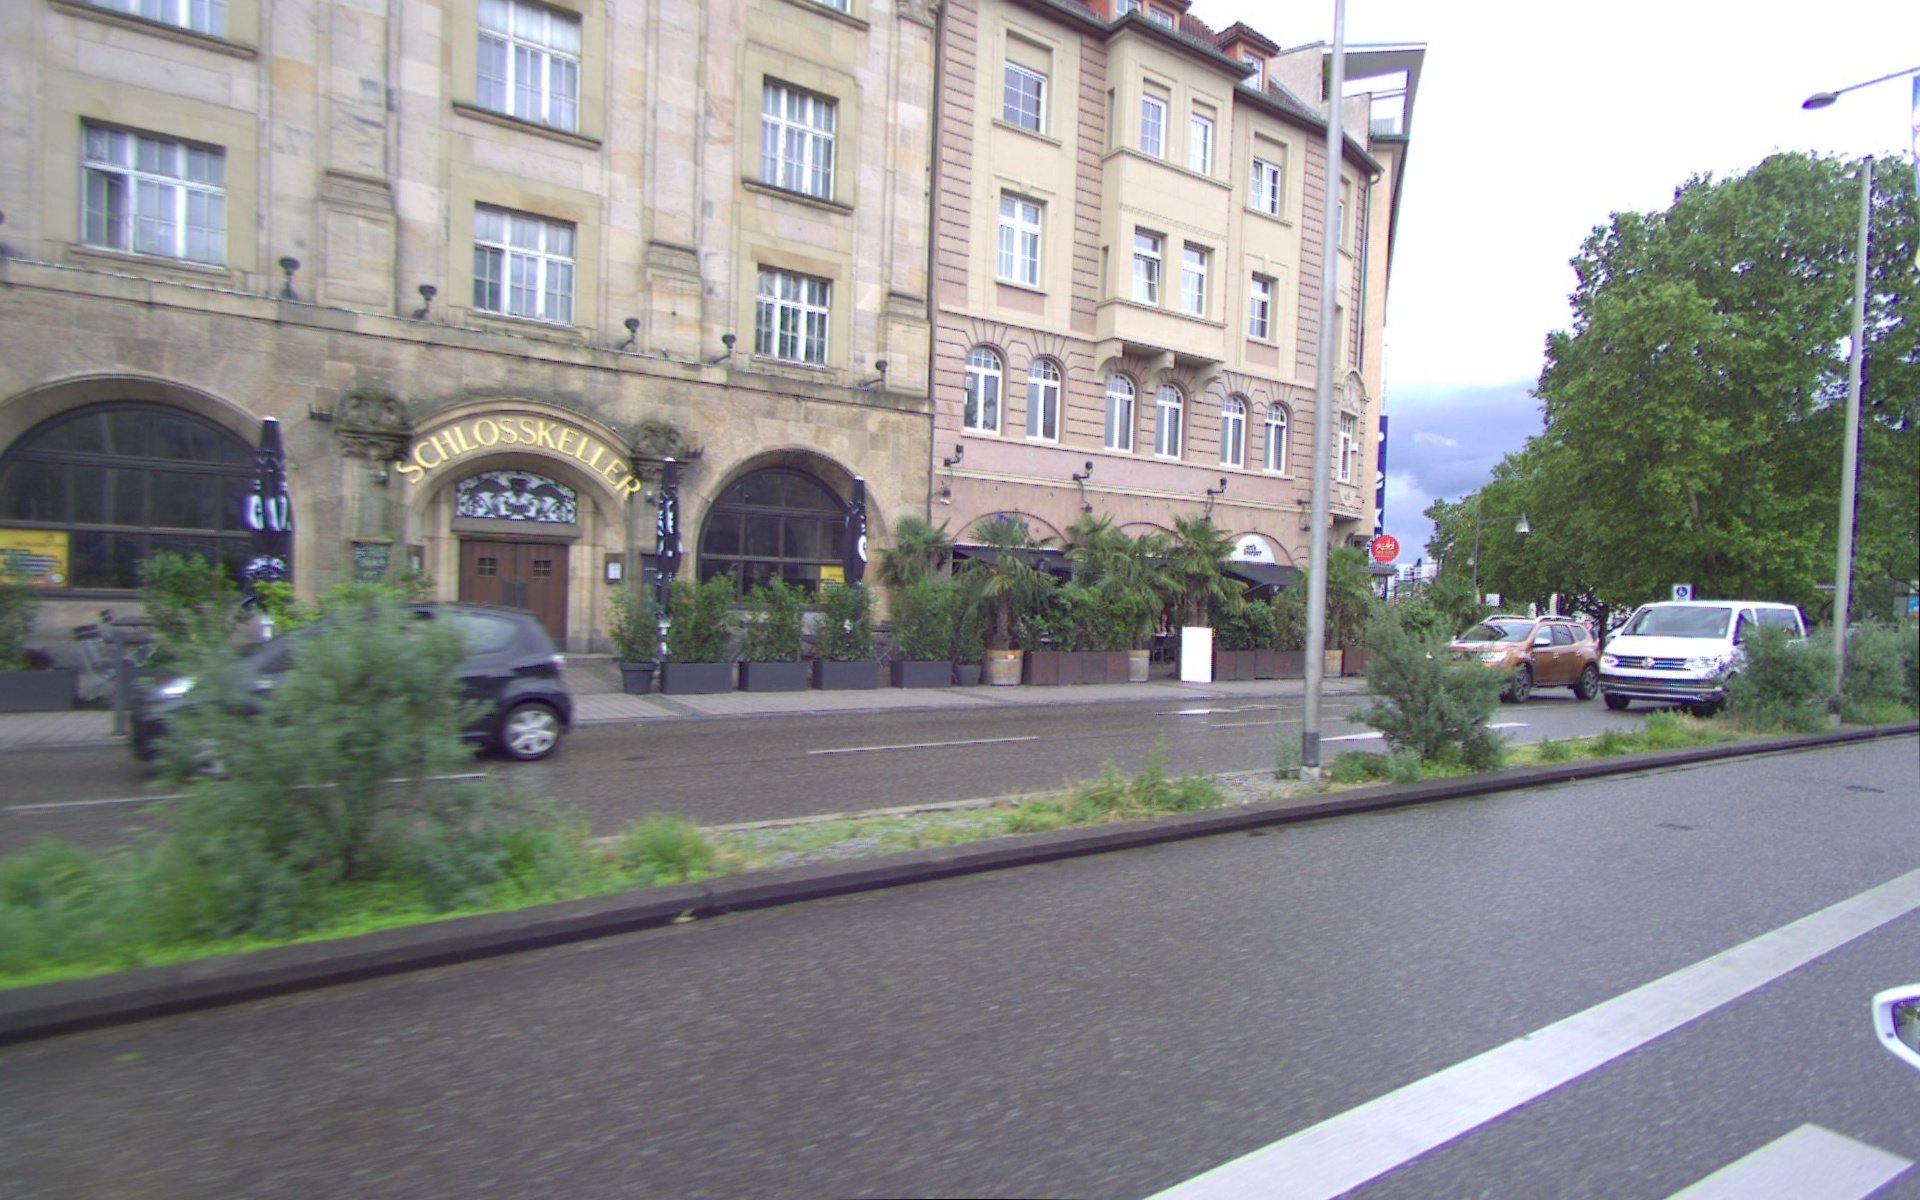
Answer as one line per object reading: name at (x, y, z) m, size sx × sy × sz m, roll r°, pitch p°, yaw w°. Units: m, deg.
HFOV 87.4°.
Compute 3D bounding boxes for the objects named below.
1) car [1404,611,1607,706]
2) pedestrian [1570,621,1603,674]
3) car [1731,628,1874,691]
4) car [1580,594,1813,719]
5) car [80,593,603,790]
car at (11.049, 1.118, 20.283) m, size 4.060 × 1.703 × 1.981 m, roll 2°, pitch 0°, yaw -35°
pedestrian at (18.808, 1.405, 30.159) m, size 0.722 × 1.550 × 0.683 m, roll 1°, pitch -1°, yaw -42°
car at (23.649, 1.623, 28.155) m, size 4.689 × 1.600 × 1.780 m, roll 2°, pitch -1°, yaw -33°
car at (13.448, 0.947, 18.243) m, size 4.805 × 2.000 × 1.909 m, roll 2°, pitch 0°, yaw -34°
car at (-5.370, 0.712, 9.126) m, size 3.722 × 1.451 × 1.618 m, roll 2°, pitch 0°, yaw -34°
